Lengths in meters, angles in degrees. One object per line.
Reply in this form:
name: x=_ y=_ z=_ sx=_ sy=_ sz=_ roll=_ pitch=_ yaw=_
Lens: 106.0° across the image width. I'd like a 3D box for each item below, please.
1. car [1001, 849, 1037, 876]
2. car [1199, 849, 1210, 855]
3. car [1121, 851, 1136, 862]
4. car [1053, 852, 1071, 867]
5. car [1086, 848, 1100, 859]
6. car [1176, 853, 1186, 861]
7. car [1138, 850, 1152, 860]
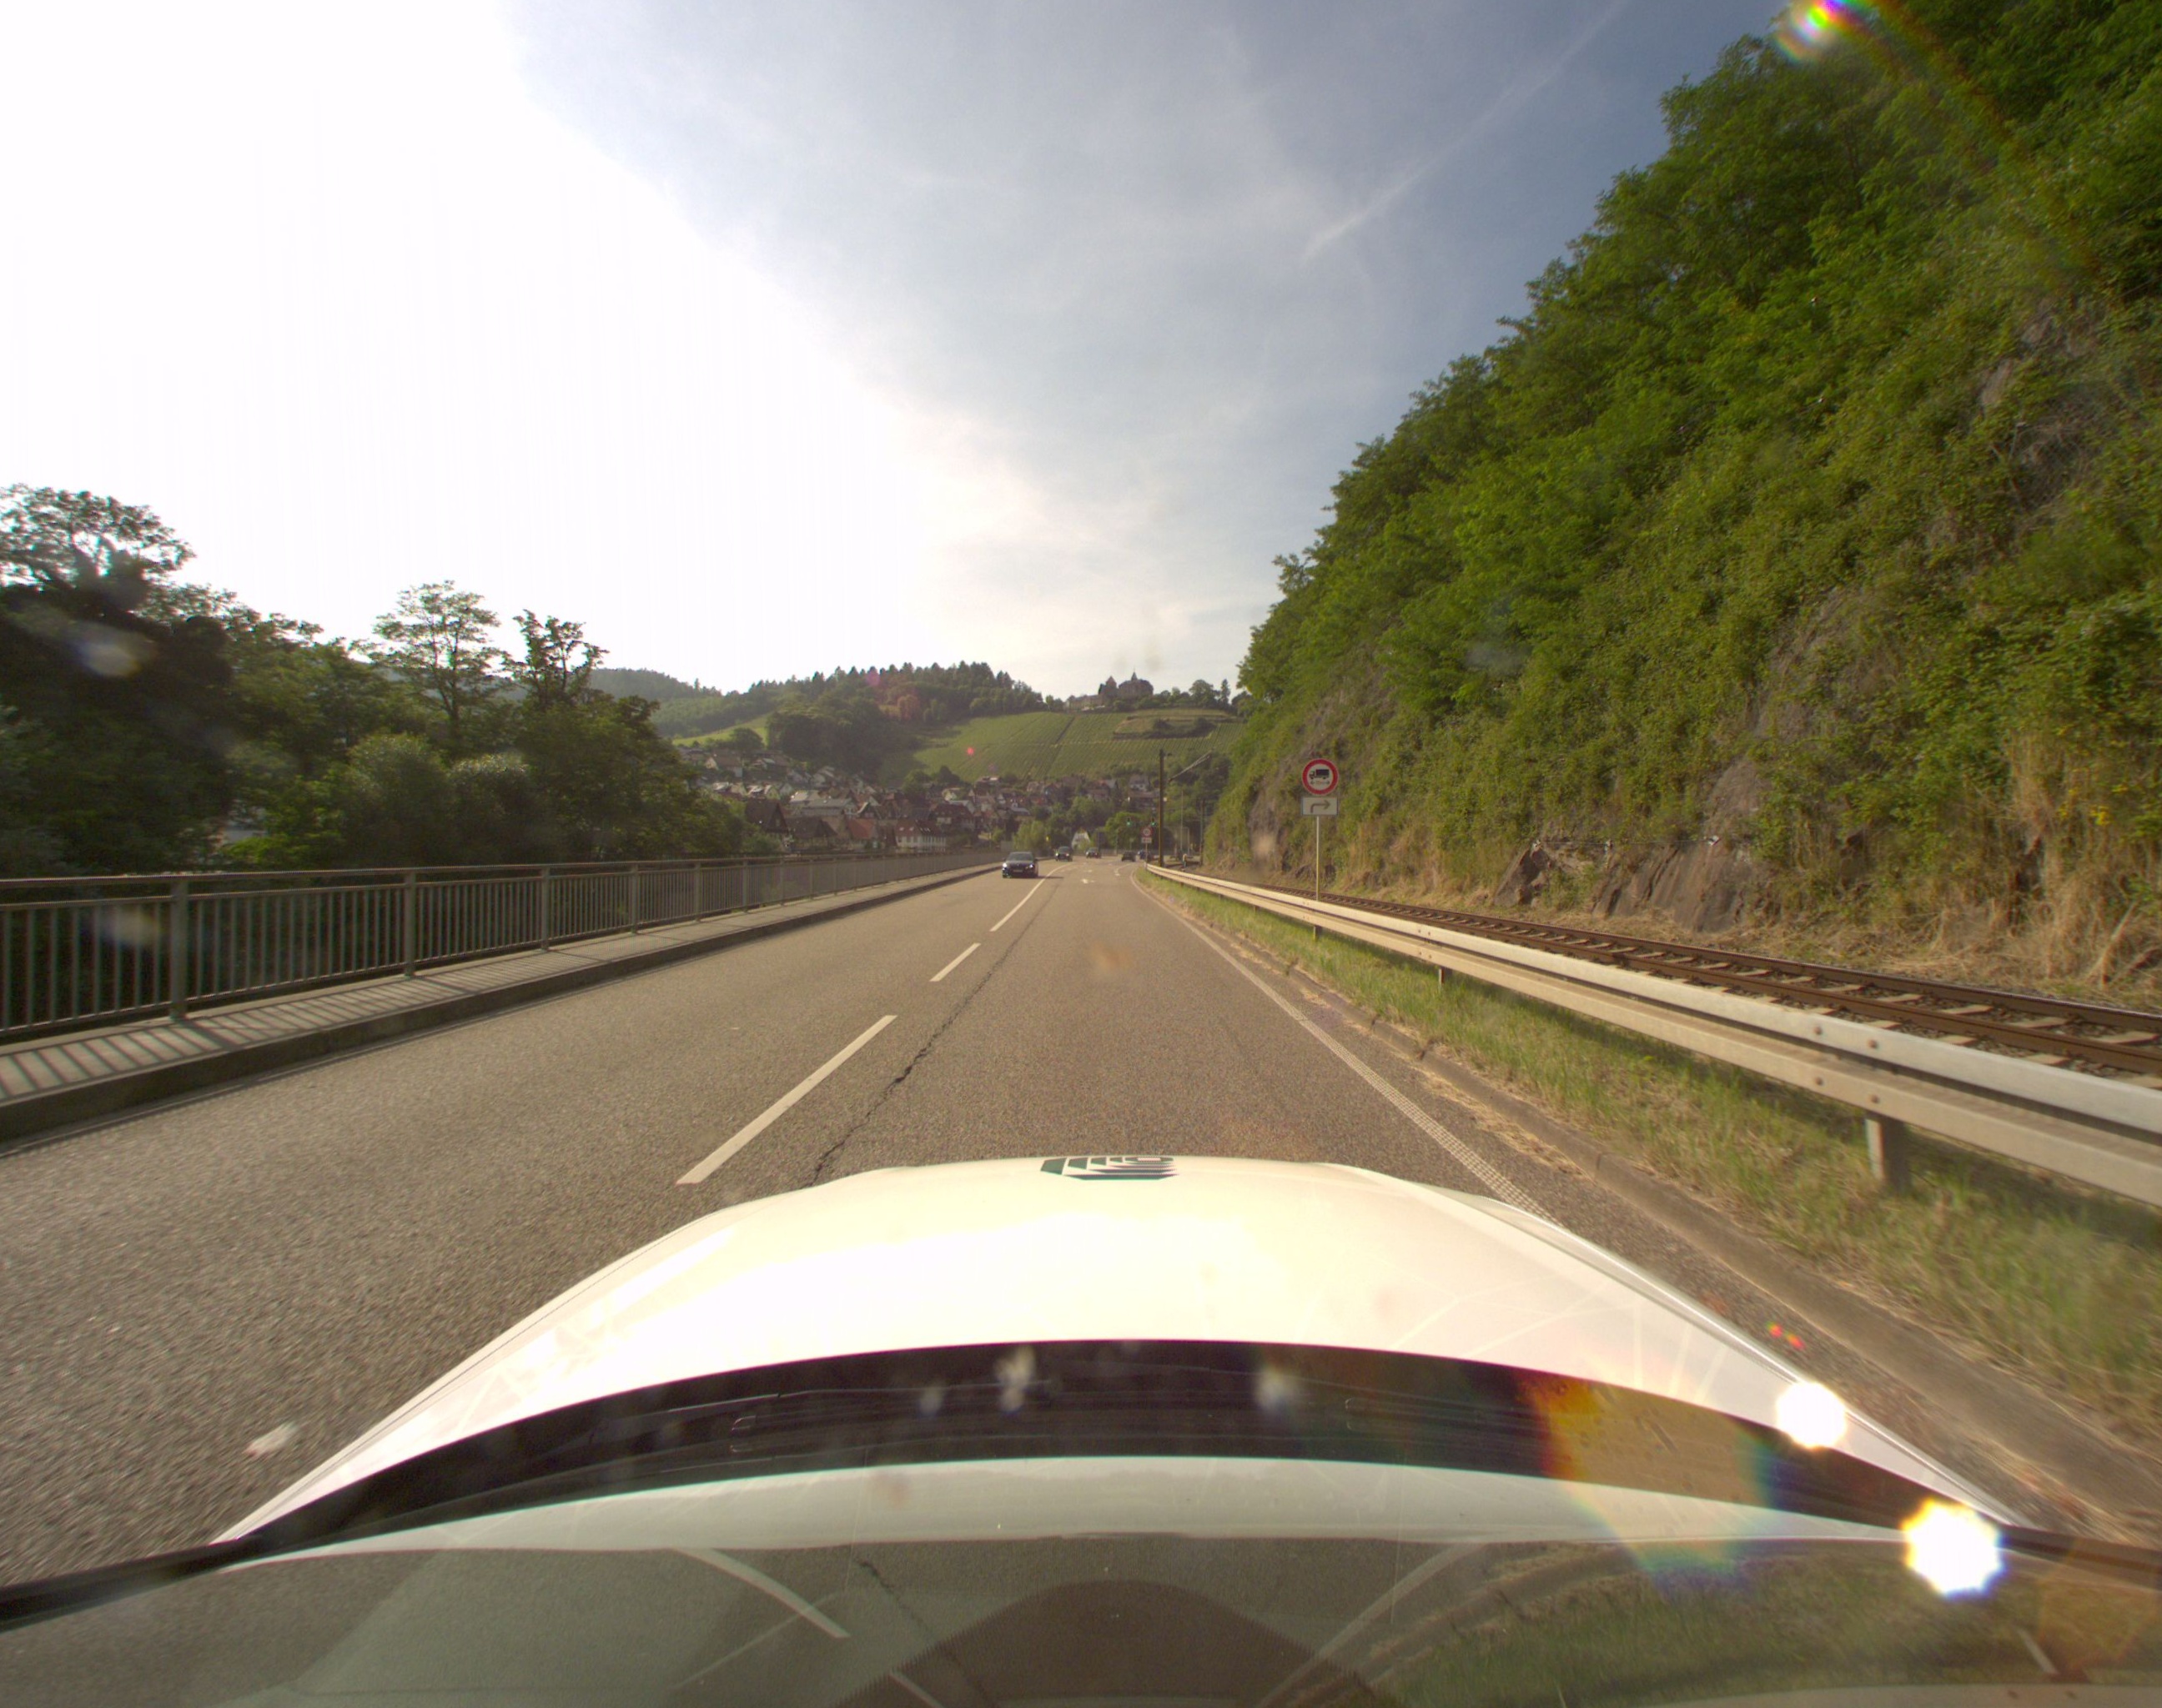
car: x=-3.440 y=0.441 z=45.517 sx=1.715 sy=1.435 sz=4.338 roll=0 pitch=0 yaw=-1
car: x=28.226 y=-0.401 z=185.992 sx=1.793 sy=1.408 sz=3.793 roll=0 pitch=-1 yaw=21
car: x=6.815 y=0.360 z=116.290 sx=1.718 sy=1.457 sz=3.419 roll=0 pitch=-1 yaw=10
car: x=-2.331 y=0.649 z=100.670 sx=1.784 sy=1.828 sz=4.833 roll=0 pitch=0 yaw=4
car: x=1.933 y=-0.055 z=128.379 sx=1.807 sy=1.646 sz=4.621 roll=1 pitch=0 yaw=7
car: x=20.310 y=0.616 z=164.692 sx=1.796 sy=1.453 sz=3.657 roll=0 pitch=-1 yaw=10
car: x=10.711 y=0.178 z=135.959 sx=1.828 sy=1.459 sz=3.723 roll=0 pitch=-1 yaw=10
